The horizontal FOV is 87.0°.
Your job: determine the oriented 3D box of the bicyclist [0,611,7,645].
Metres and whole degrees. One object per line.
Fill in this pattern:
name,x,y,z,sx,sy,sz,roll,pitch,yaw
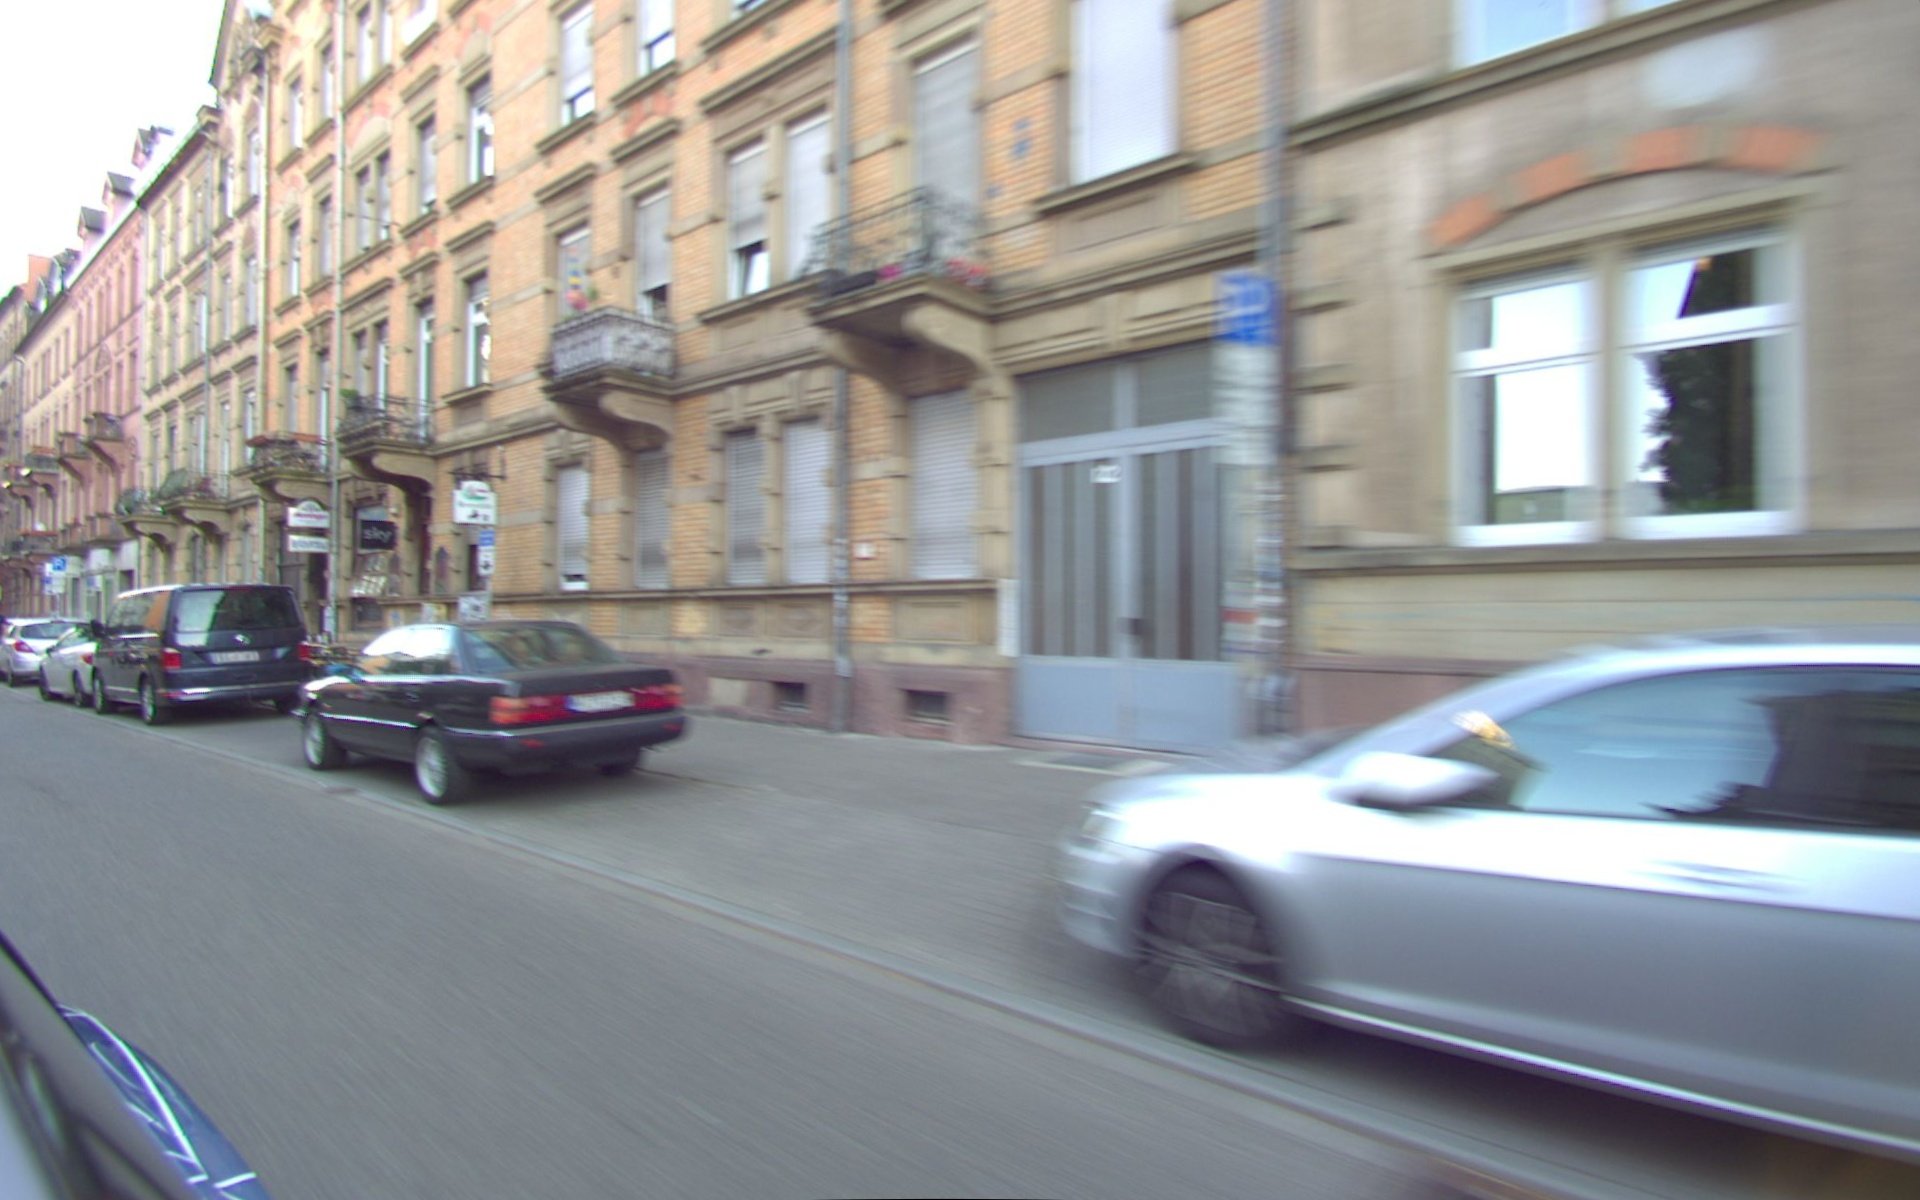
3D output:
bicyclist,-49.629,1.450,52.147,0.699,1.742,0.845,0,0,-38

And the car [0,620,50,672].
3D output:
car,-28.244,1.354,29.702,4.505,1.422,1.740,-2,-1,41

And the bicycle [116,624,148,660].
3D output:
bicycle,-27.317,1.386,33.366,1.729,1.140,0.510,-2,-1,40

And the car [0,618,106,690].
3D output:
car,-21.205,1.205,23.394,3.999,1.468,1.699,-2,0,42

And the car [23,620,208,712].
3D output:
car,-15.631,1.133,18.649,4.480,1.433,1.766,-1,0,39

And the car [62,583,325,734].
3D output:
car,-11.776,0.787,15.420,4.944,1.938,1.974,-1,0,38

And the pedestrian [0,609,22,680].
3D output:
pedestrian,-24.302,1.106,25.454,0.556,1.769,1.008,0,0,44

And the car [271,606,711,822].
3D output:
car,-4.394,0.795,9.068,4.775,1.429,1.719,-1,1,40

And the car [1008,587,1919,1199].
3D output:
car,2.381,0.731,3.227,4.204,1.468,1.815,-1,1,41
